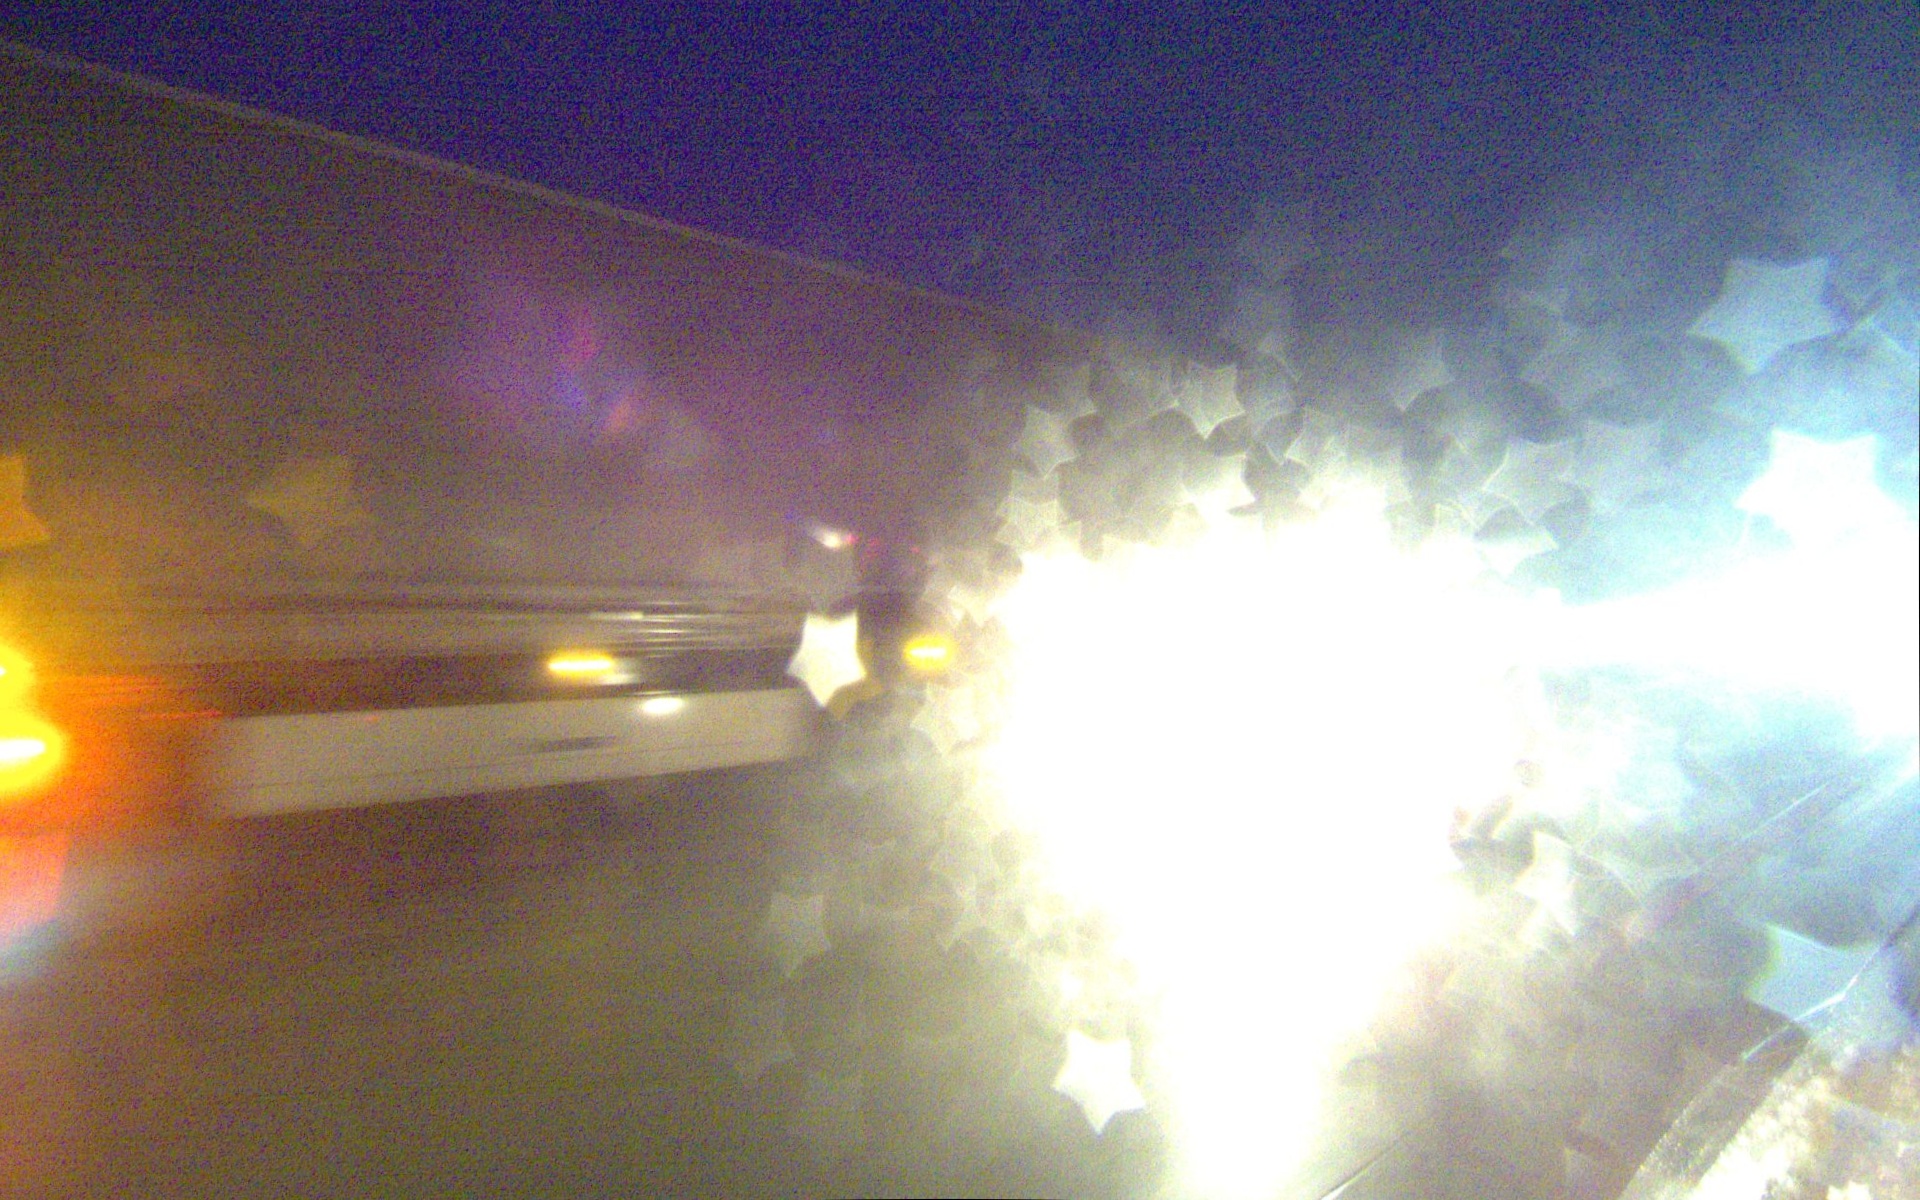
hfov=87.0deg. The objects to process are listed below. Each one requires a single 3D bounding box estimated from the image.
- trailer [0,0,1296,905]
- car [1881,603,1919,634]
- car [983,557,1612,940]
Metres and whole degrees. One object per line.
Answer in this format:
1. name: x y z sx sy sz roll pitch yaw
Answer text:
1. trailer: -2.519 -0.795 7.885 14.236 4.159 2.909 0 2 -42
2. car: 48.153 0.927 51.462 3.946 1.522 1.641 1 1 -44
3. car: 2.355 0.581 6.325 4.416 1.595 1.744 -1 1 -41
